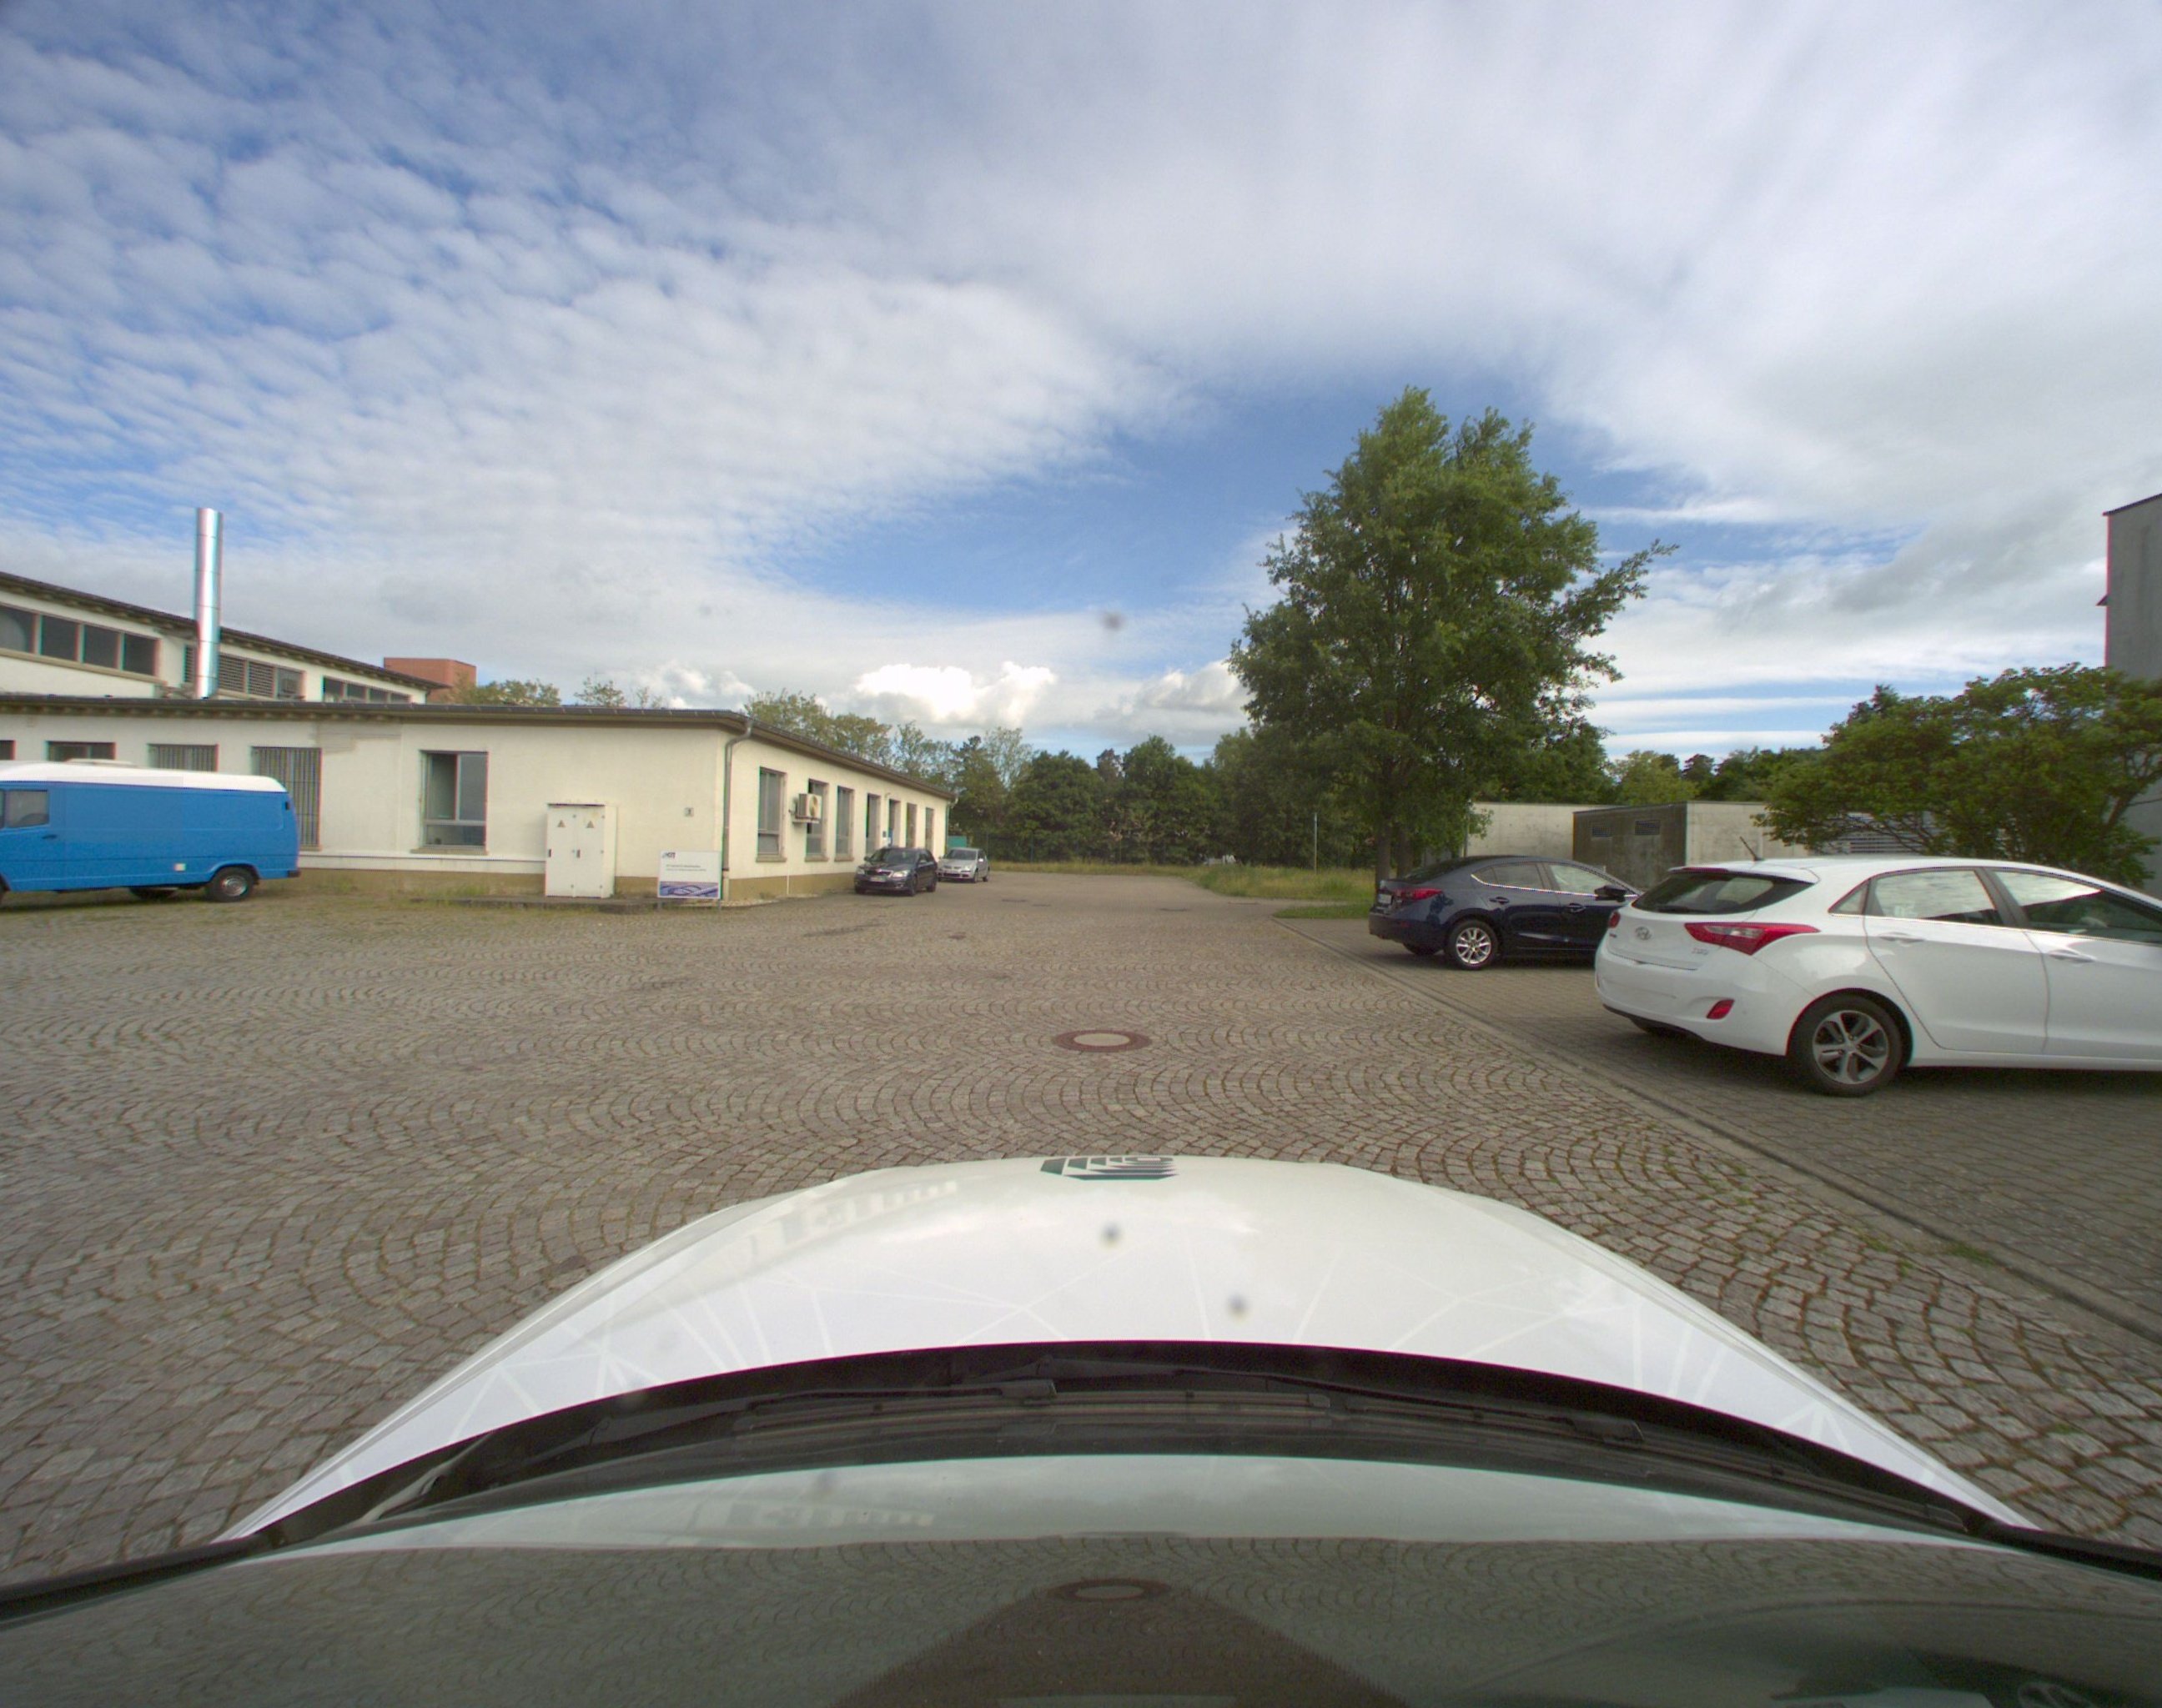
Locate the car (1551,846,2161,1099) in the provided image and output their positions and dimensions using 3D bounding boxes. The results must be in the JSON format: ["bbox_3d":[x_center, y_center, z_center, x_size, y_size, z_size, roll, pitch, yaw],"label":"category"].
[{"bbox_3d":[5.875,0.713,5.809,3.960,1.466,1.884,1,0,2],"label":"car"}]

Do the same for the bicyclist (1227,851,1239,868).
[{"bbox_3d":[11.045,0.381,59.116,0.766,1.206,0.588,1,0,3],"label":"bicyclist"}]

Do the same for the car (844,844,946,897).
[{"bbox_3d":[-5.723,0.459,25.684,1.917,1.461,4.813,1,0,2],"label":"car"}]

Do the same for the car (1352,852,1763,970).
[{"bbox_3d":[6.187,0.700,11.037,4.445,1.447,1.946,0,0,2],"label":"car"}]

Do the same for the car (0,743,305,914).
[{"bbox_3d":[-17.134,-0.430,14.031,1.983,2.582,5.407,1,1,6],"label":"car"}]

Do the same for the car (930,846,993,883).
[{"bbox_3d":[-5.128,0.420,35.452,1.917,1.439,4.370,1,0,2],"label":"car"}]

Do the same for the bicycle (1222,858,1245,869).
[{"bbox_3d":[11.061,0.701,59.104,1.510,0.791,0.588,1,0,2],"label":"bicycle"}]
